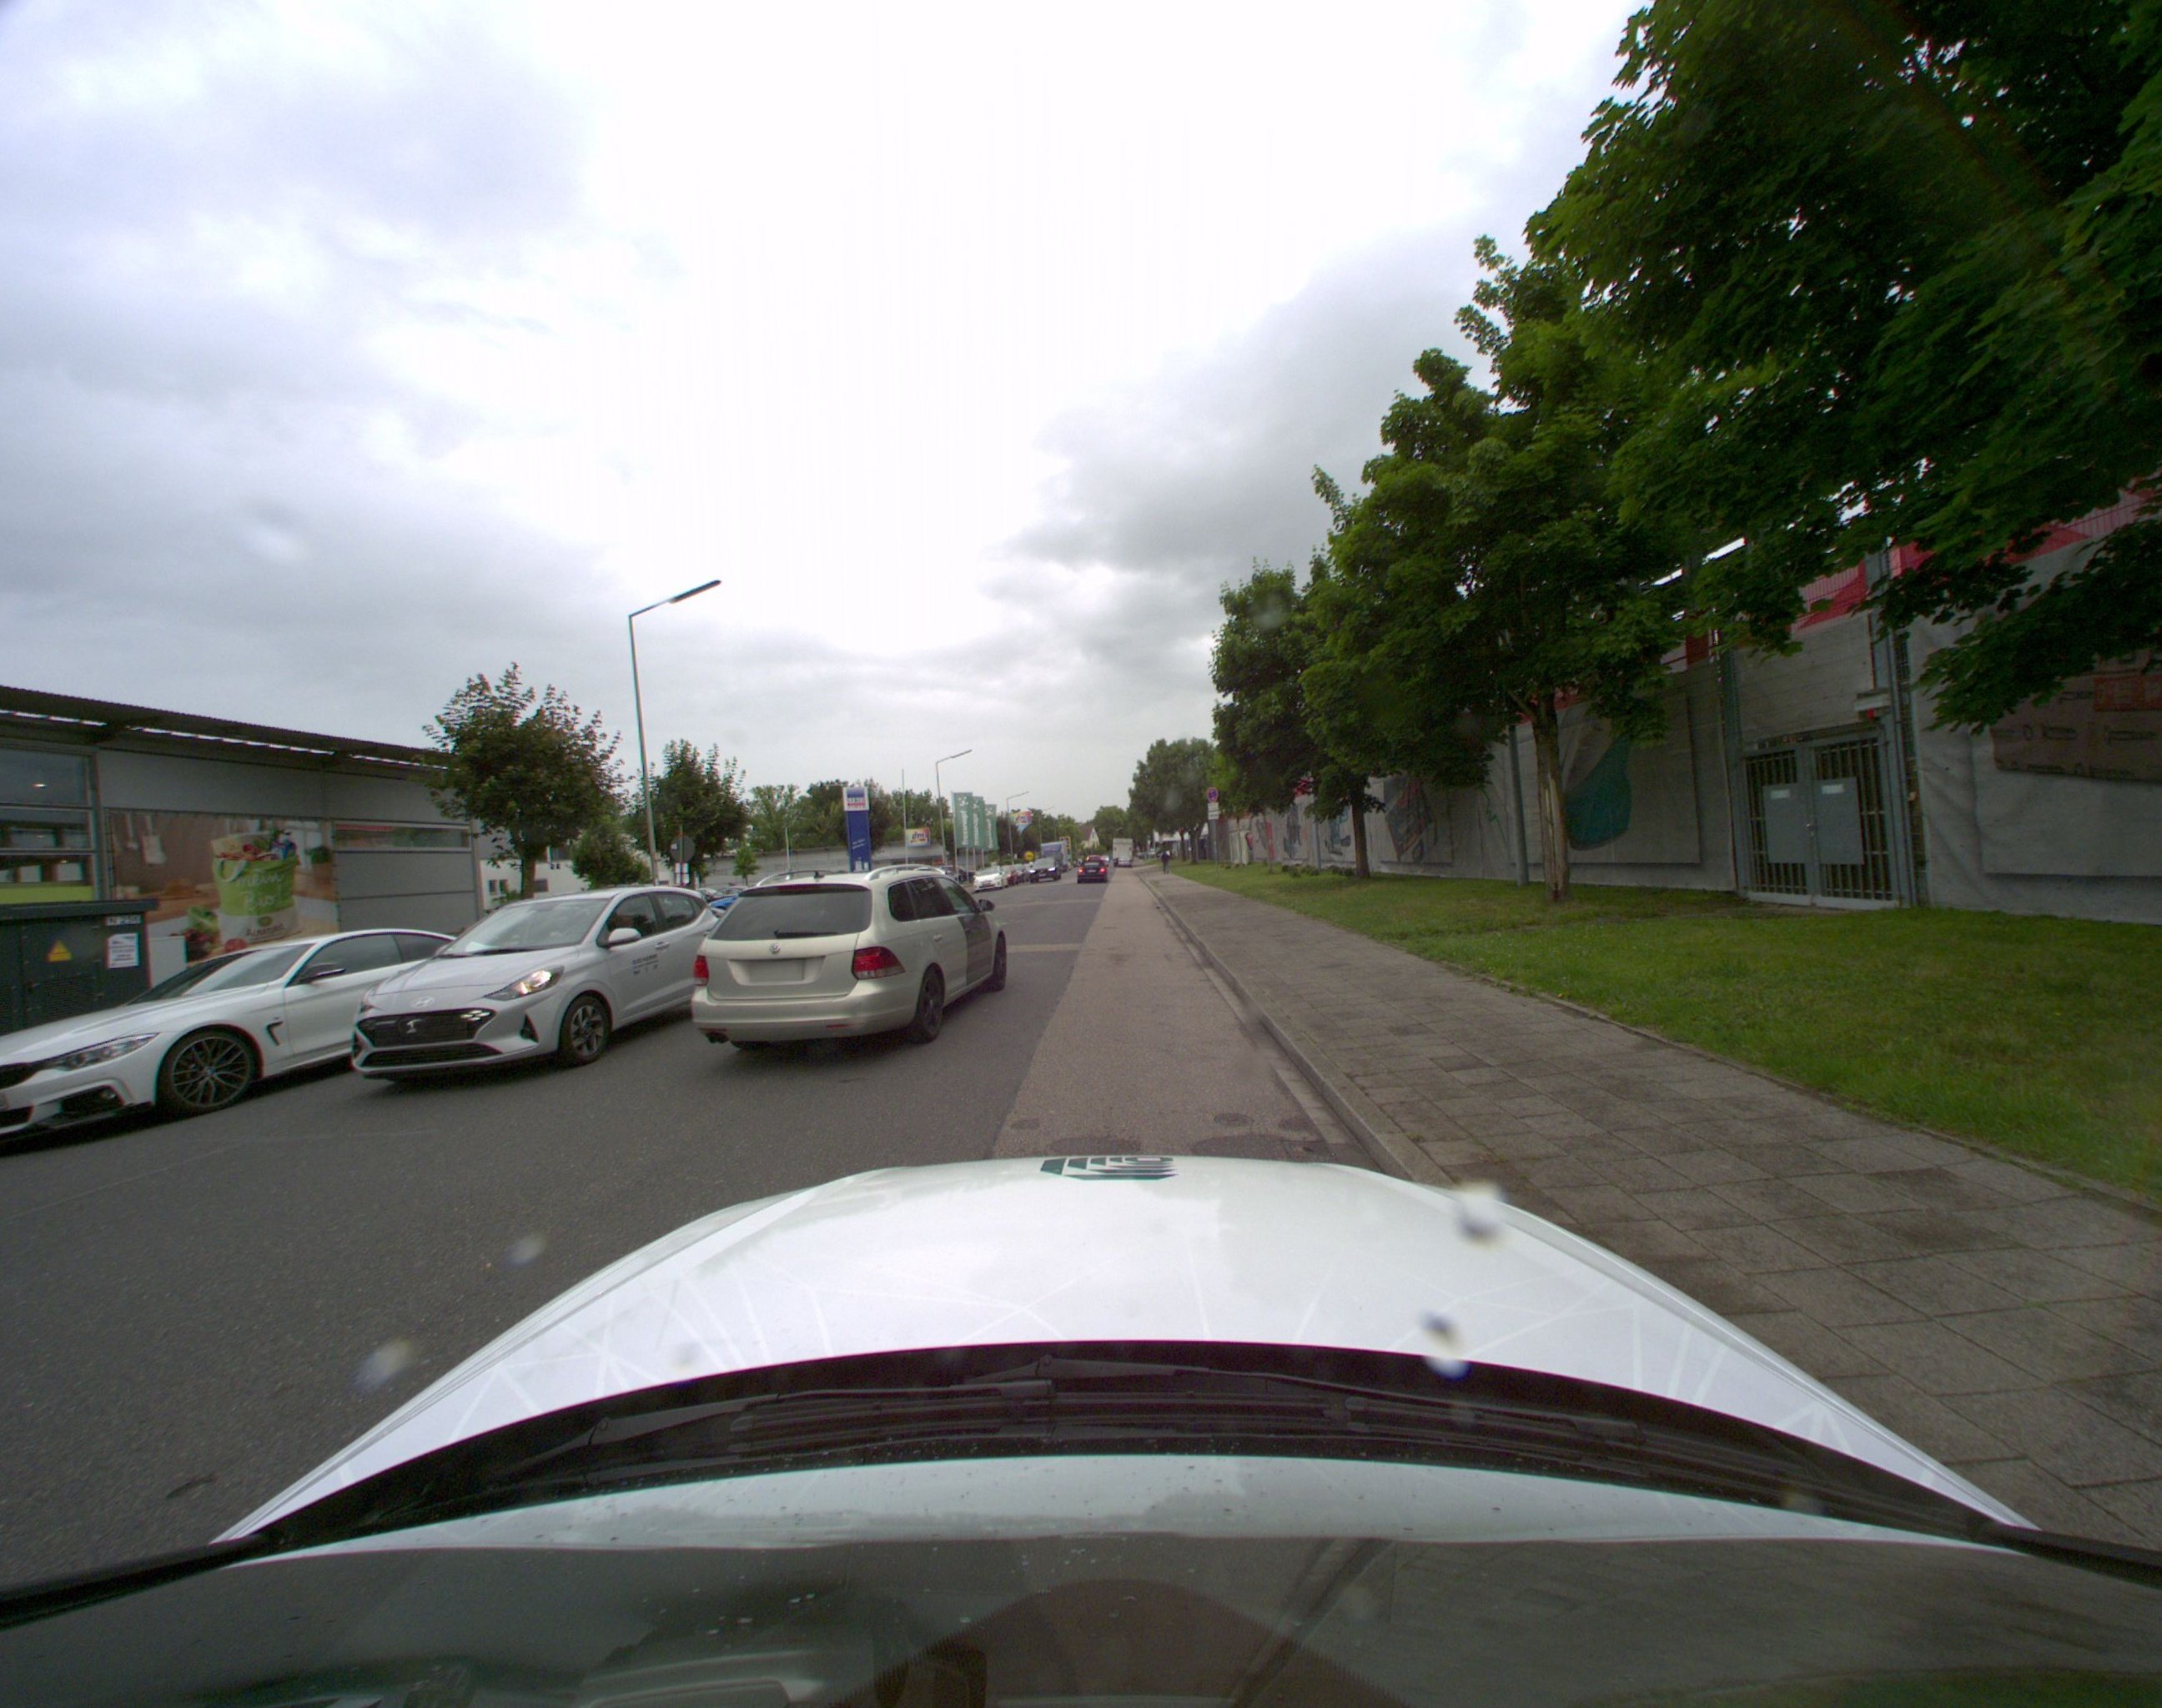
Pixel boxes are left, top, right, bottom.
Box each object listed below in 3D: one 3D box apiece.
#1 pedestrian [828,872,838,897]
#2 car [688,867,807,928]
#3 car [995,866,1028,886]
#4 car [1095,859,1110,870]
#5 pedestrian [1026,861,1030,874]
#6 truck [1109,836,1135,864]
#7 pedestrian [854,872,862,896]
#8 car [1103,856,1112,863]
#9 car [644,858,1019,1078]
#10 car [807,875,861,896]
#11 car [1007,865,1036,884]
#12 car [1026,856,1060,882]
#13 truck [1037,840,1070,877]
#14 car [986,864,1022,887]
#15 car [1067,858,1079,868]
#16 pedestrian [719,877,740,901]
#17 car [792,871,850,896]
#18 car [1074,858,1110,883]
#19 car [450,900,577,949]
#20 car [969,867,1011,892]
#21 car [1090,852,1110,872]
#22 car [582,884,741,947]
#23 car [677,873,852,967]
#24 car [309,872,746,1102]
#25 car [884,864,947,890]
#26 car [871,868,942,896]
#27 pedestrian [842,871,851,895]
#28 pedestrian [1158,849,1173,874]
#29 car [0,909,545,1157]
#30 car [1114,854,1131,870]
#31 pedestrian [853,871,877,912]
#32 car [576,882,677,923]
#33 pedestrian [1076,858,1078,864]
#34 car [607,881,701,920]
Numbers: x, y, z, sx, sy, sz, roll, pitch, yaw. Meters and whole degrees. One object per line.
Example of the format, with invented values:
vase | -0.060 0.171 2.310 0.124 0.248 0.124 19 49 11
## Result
pedestrian | -16.330 2.005 53.588 0.456 1.642 0.372 -4 -1 -15
car | -13.372 1.713 32.839 3.923 2.013 1.758 -5 0 -5
car | -5.392 1.686 63.561 1.890 1.367 4.003 -5 0 3
car | 3.167 1.485 118.036 1.878 1.531 4.258 -2 0 4
pedestrian | -6.279 1.632 96.219 0.401 1.531 0.485 -5 -1 -3
truck | 5.539 -0.441 111.164 3.123 3.585 10.054 -3 -1 2
pedestrian | -14.485 1.949 52.865 0.330 1.570 0.502 -3 -1 -9
car | 5.803 1.221 176.954 1.878 1.531 4.258 -2 0 4
car | -1.963 0.835 7.926 1.743 1.451 4.307 -4 0 8
car | -21.102 2.675 69.673 3.970 1.492 1.788 -5 0 3
car | -5.027 1.754 69.434 1.890 1.367 4.003 -5 0 3
car | -2.677 1.067 57.824 1.986 1.684 4.001 -3 -1 2
truck | -3.258 0.559 97.101 2.961 3.955 6.410 -6 0 3
car | -5.441 1.501 58.116 1.890 1.367 4.003 -5 0 3
car | -1.215 1.409 130.753 1.699 1.546 3.622 -3 -1 2
pedestrian | -31.320 3.093 72.579 1.394 2.013 1.197 -5 -1 -37
car | -21.075 2.355 66.038 3.971 1.669 1.878 -5 0 2
car | 0.709 0.964 48.619 1.737 1.358 4.144 -4 -1 5
car | -22.849 2.807 32.961 4.017 1.485 1.856 -5 -1 -34
car | -5.680 1.579 51.469 1.890 1.367 4.003 -5 0 3
car | 1.671 0.697 72.418 1.675 1.632 3.759 -5 0 0
car | -13.048 1.887 25.494 3.857 1.620 1.929 -3 0 3
car | -6.942 1.376 18.454 1.940 1.526 4.404 -9 -1 1
car | -4.921 1.047 7.924 1.593 1.528 3.530 -6 -1 2
car | -11.911 1.658 58.880 4.126 1.463 1.896 -5 0 -3
car | -11.506 1.827 53.923 4.196 1.463 1.949 -5 -1 -5
pedestrian | -15.324 1.899 53.245 0.359 1.570 0.502 -4 -1 -8
pedestrian | 5.782 0.517 55.695 0.915 1.635 0.854 -3 -1 4
car | -7.798 1.499 8.026 1.692 1.367 4.520 -9 -1 2
car | 5.210 1.027 101.905 1.986 1.806 4.001 -3 -1 2
pedestrian | -9.355 1.621 35.343 0.773 1.715 0.696 -4 -1 -2
car | -23.180 2.472 41.599 3.971 1.669 1.878 -5 0 2
pedestrian | -0.617 1.149 129.256 0.248 0.976 0.344 -3 -1 15
car | -23.033 2.500 44.025 3.971 1.669 1.878 -5 0 2
